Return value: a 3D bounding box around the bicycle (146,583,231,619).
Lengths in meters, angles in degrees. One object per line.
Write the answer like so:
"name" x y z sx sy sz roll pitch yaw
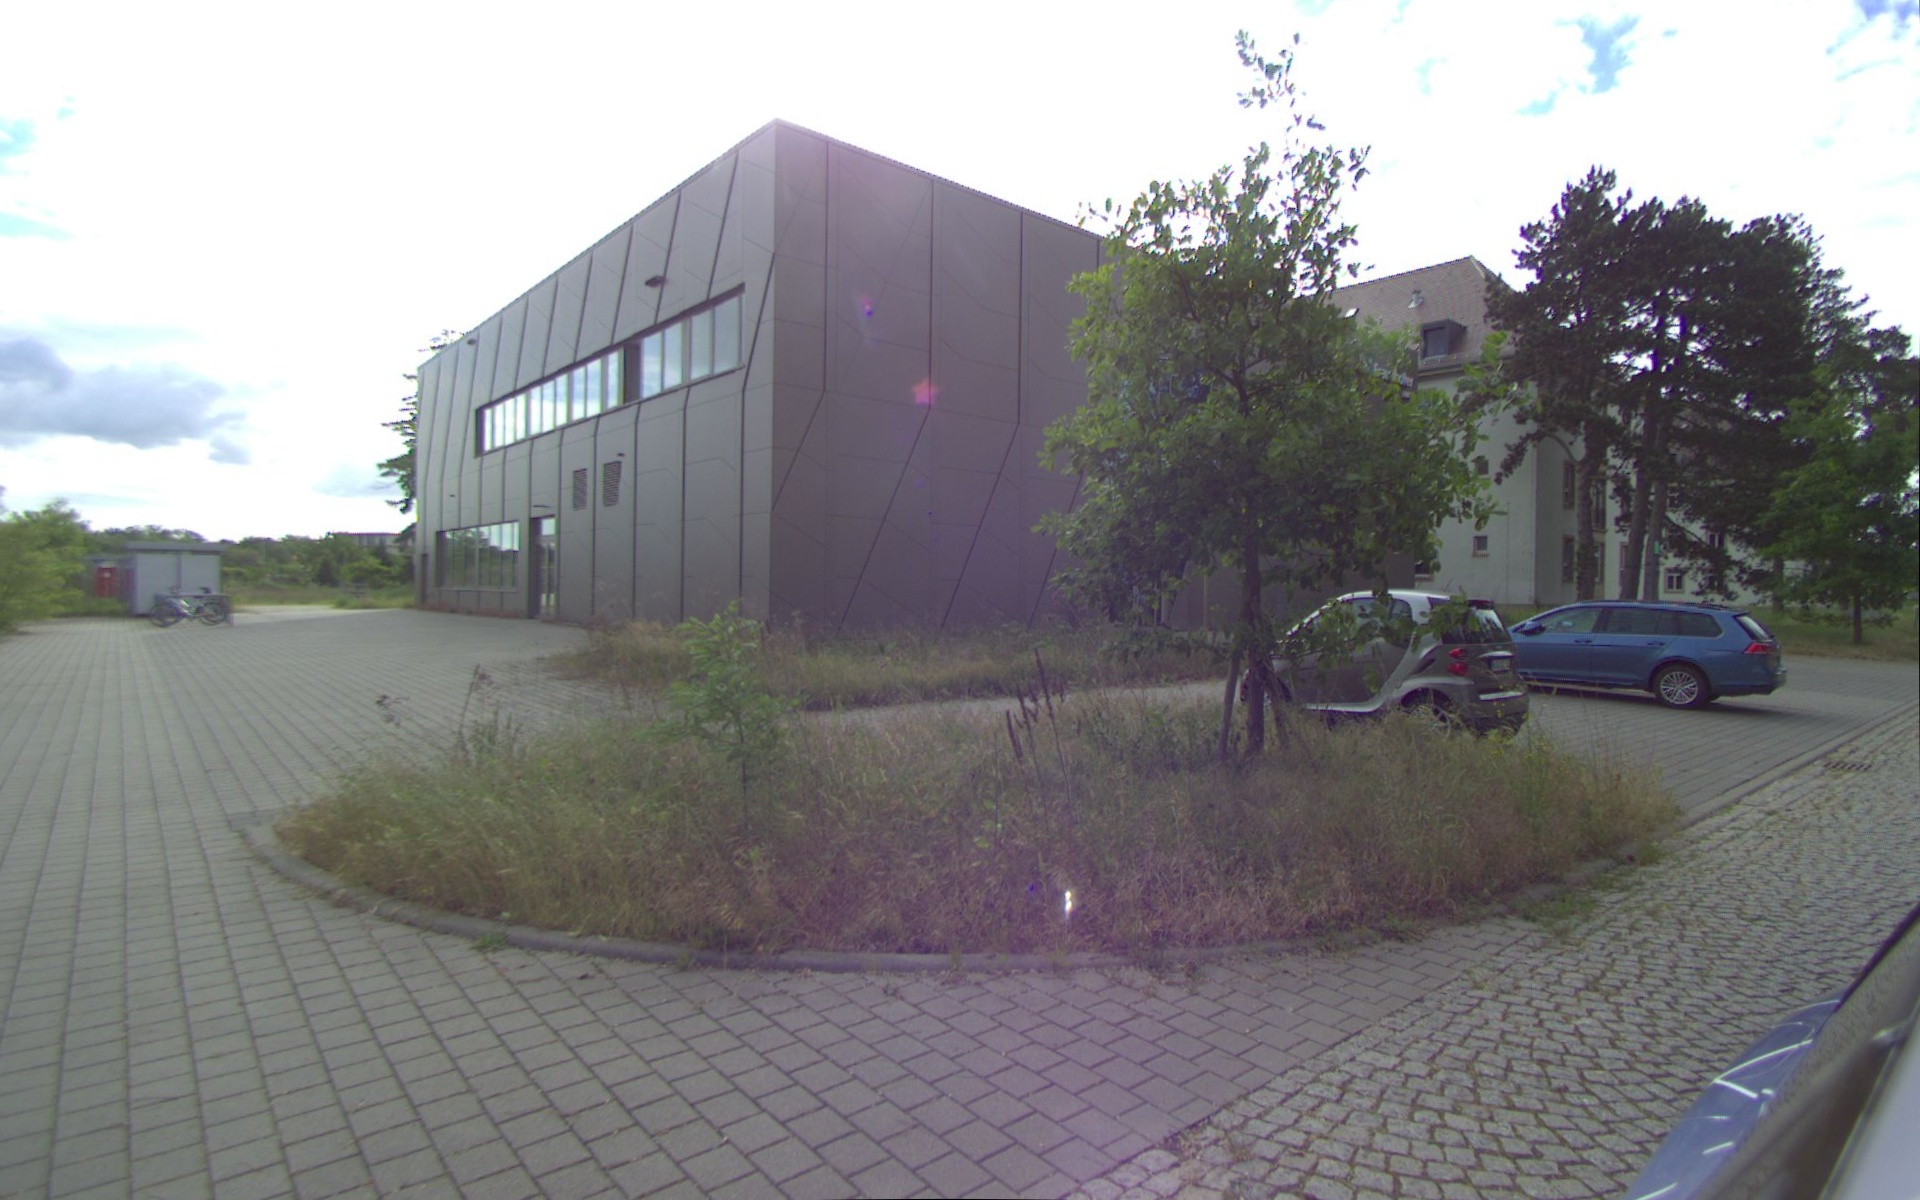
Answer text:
"bicycle" -22.685 0.015 29.791 1.953 1.038 0.836 -1 1 -38

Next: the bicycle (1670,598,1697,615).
"bicycle" 45.624 0.389 63.826 2.126 1.070 0.800 0 1 -38

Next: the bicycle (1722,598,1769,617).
"bicycle" 46.943 0.425 60.504 0.705 1.109 2.161 0 1 -43

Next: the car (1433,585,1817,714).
"car" 9.955 0.616 15.458 1.899 1.467 4.533 0 3 -42

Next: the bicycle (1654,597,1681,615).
"bicycle" 45.087 0.376 64.484 2.159 1.070 0.800 0 1 -38

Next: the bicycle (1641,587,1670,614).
"bicycle" 44.852 0.021 65.284 2.158 1.753 0.905 0 1 -38

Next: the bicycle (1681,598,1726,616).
"bicycle" 45.653 0.419 62.141 0.705 1.070 2.161 0 1 -43

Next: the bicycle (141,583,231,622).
"bicycle" -21.442 0.041 28.071 1.953 1.038 0.836 -1 1 -38

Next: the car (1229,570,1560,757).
"car" 4.535 0.552 10.770 1.653 1.601 2.748 0 3 -40
